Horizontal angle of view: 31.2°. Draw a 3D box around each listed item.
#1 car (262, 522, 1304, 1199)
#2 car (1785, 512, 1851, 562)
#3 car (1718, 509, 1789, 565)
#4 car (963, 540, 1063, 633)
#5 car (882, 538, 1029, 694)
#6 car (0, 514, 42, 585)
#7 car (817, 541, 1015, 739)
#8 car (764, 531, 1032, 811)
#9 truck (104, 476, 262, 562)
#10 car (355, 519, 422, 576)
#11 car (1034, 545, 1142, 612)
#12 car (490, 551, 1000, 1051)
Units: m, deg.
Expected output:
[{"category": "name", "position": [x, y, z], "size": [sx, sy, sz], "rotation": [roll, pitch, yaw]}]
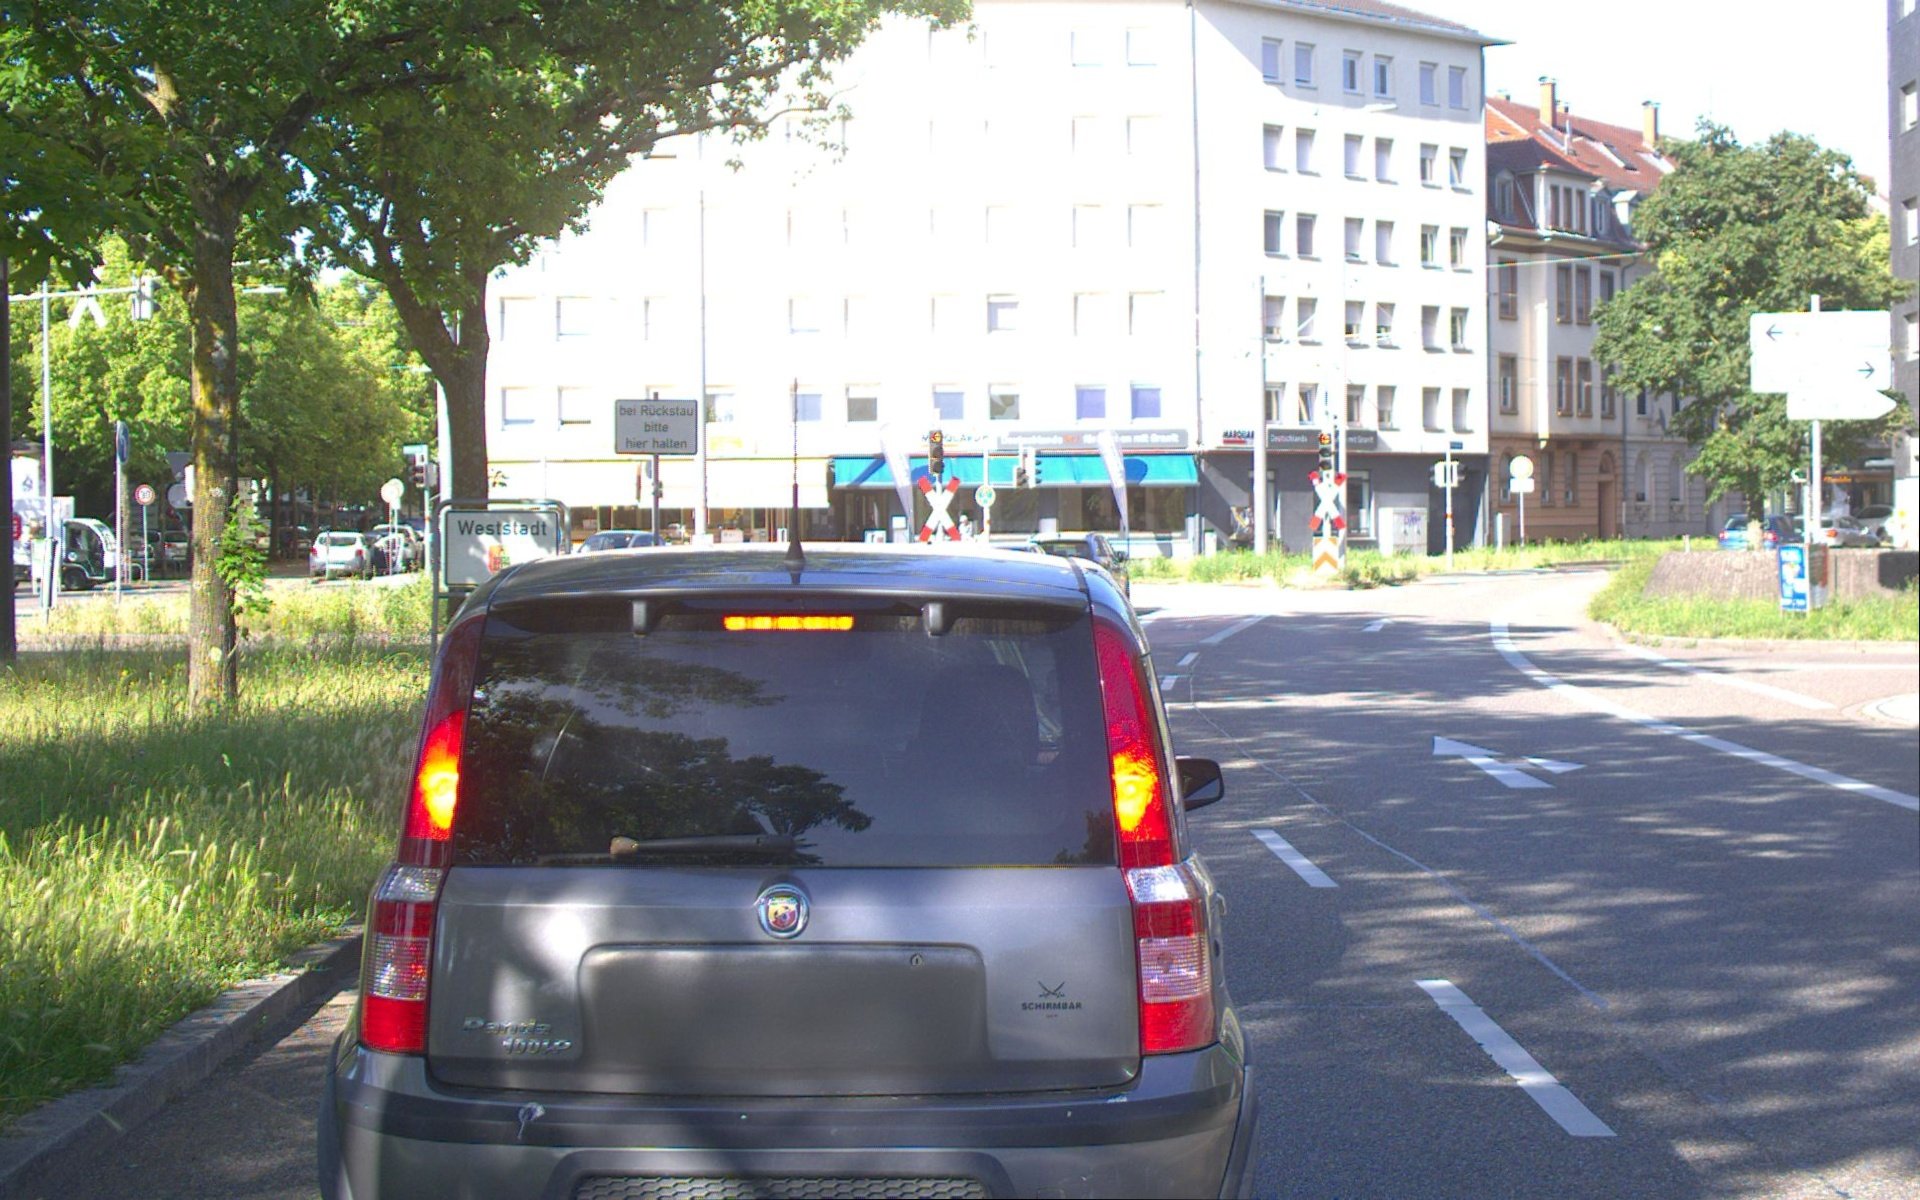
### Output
[{"category": "car", "position": [-0.297, 0.597, 7.418], "size": [1.628, 1.503, 4.000], "rotation": [-1, 1, -1]}, {"category": "car", "position": [23.444, -1.727, 93.883], "size": [1.528, 1.310, 3.285], "rotation": [0, 2, 18]}, {"category": "car", "position": [20.875, -1.668, 90.391], "size": [1.683, 1.444, 3.569], "rotation": [0, 1, 15]}, {"category": "car", "position": [0.747, -0.216, 49.595], "size": [1.356, 1.277, 2.876], "rotation": [0, 1, -1]}, {"category": "car", "position": [-0.060, 0.120, 33.863], "size": [1.356, 1.444, 3.266], "rotation": [-1, 1, -1]}, {"category": "car", "position": [-28.545, -1.436, 98.166], "size": [4.176, 2.007, 1.932], "rotation": [-1, 1, -2]}, {"category": "car", "position": [-0.345, 0.266, 27.259], "size": [1.463, 1.420, 3.381], "rotation": [0, 2, -1]}, {"category": "car", "position": [-0.359, 0.354, 20.679], "size": [1.463, 1.503, 3.505], "rotation": [0, 2, -1]}, {"category": "truck", "position": [-28.889, -3.002, 127.771], "size": [5.485, 3.158, 2.340], "rotation": [0, 1, 28]}, {"category": "car", "position": [-20.523, -1.900, 123.580], "size": [1.993, 2.007, 4.001], "rotation": [-1, 1, -4]}, {"category": "car", "position": [2.169, -0.375, 57.670], "size": [1.143, 1.060, 2.719], "rotation": [0, 1, 17]}, {"category": "car", "position": [-0.640, 0.559, 11.640], "size": [1.463, 1.396, 3.393], "rotation": [0, 1, -1]}]
